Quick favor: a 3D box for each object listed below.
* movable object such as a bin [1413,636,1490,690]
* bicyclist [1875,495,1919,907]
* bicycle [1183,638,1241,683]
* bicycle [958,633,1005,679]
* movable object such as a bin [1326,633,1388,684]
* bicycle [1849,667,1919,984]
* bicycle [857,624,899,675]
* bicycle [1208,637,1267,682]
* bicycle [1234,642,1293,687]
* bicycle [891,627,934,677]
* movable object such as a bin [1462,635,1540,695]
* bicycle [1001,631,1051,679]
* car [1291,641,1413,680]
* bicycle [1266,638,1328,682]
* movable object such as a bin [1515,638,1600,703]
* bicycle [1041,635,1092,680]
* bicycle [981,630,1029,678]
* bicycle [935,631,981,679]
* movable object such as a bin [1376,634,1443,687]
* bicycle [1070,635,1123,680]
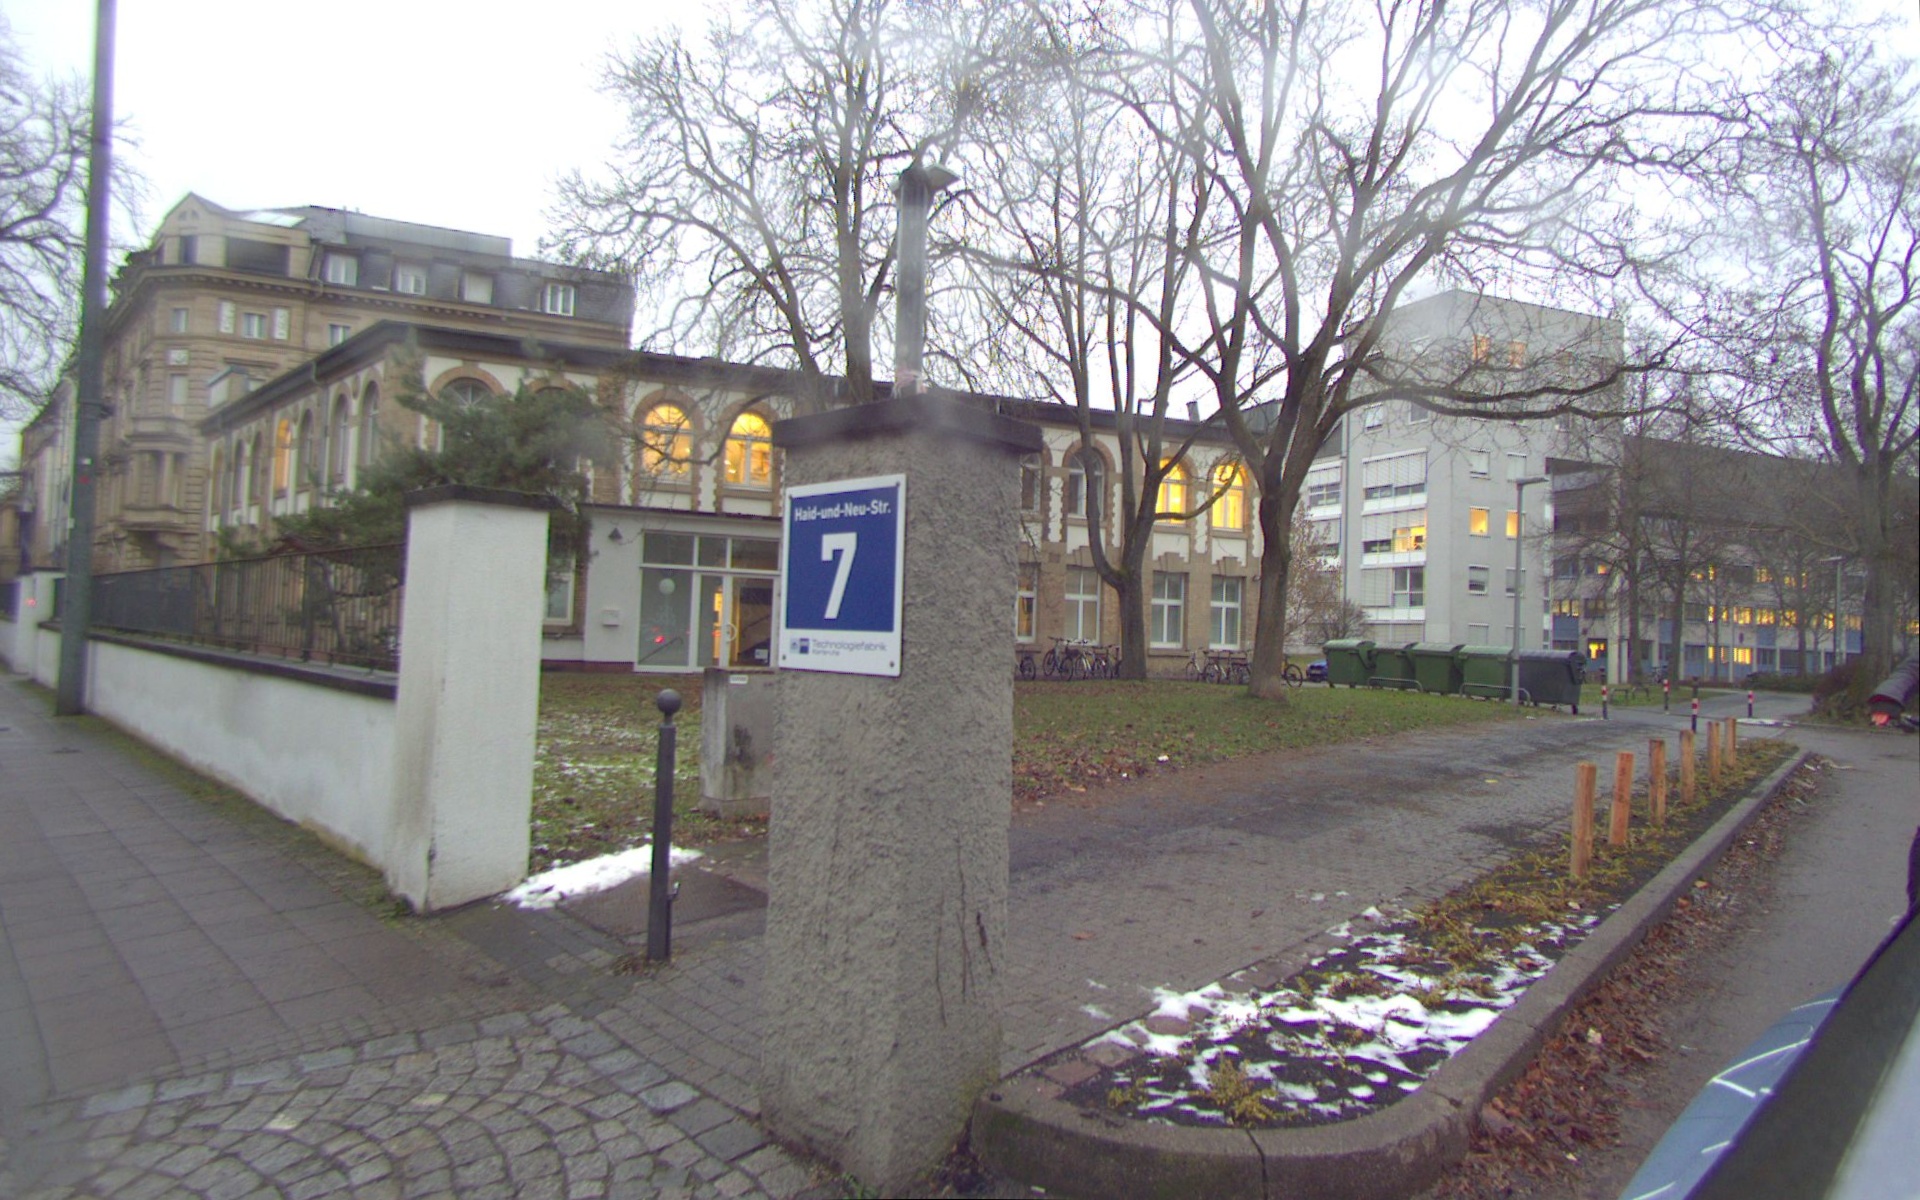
[{"bbox_3d":[12.312,1.570,25.392,0.967,1.241,1.441,3,-1,-24],"label":"movable object such as a bin"},{"bbox_3d":[4.419,0.433,4.304,0.758,1.711,0.705,3,-2,-42],"label":"bicyclist"},{"bbox_3d":[7.176,1.703,28.880,0.561,1.172,2.146,2,-1,-17],"label":"bicycle"},{"bbox_3d":[0.539,1.444,26.575,0.561,1.029,2.146,2,1,-17],"label":"bicycle"},{"bbox_3d":[10.977,1.621,28.036,0.967,1.331,1.266,3,-1,-24],"label":"movable object such as a bin"},{"bbox_3d":[4.363,0.885,4.263,1.861,1.147,0.729,3,-2,-42],"label":"bicycle"},{"bbox_3d":[-2.087,1.228,25.524,0.561,1.172,2.146,2,-1,-17],"label":"bicycle"},{"bbox_3d":[7.990,1.706,29.193,0.561,1.172,2.146,2,-1,-17],"label":"bicycle"},{"bbox_3d":[8.859,1.862,29.621,0.561,1.172,2.146,2,-1,-17],"label":"bicycle"},{"bbox_3d":[-1.222,1.296,25.802,0.561,1.172,2.146,2,-1,-17],"label":"bicycle"},{"bbox_3d":[12.822,1.523,24.005,0.967,1.331,1.310,3,-1,-24],"label":"movable object such as a bin"},{"bbox_3d":[1.732,1.451,26.951,0.561,1.172,2.146,2,-1,-17],"label":"bicycle"},{"bbox_3d":[15.064,2.321,38.979,3.916,1.297,2.004,2,-1,-13],"label":"car"},{"bbox_3d":[9.850,1.727,29.681,0.561,1.172,2.146,2,-1,-17],"label":"bicycle"},{"bbox_3d":[13.389,1.562,22.692,1.043,1.333,1.324,3,0,-36],"label":"movable object such as a bin"},{"bbox_3d":[2.866,1.532,27.384,0.561,1.106,2.146,2,-1,-17],"label":"bicycle"},{"bbox_3d":[1.156,1.409,26.760,0.561,1.172,2.146,2,-1,-17],"label":"bicycle"},{"bbox_3d":[-0.066,1.412,26.370,0.561,1.063,2.146,2,0,-17],"label":"bicycle"},{"bbox_3d":[11.842,1.585,26.690,0.967,1.296,1.254,3,-1,-24],"label":"movable object such as a bin"},{"bbox_3d":[3.706,1.555,27.691,0.561,1.125,2.146,2,-1,-17],"label":"bicycle"}]
